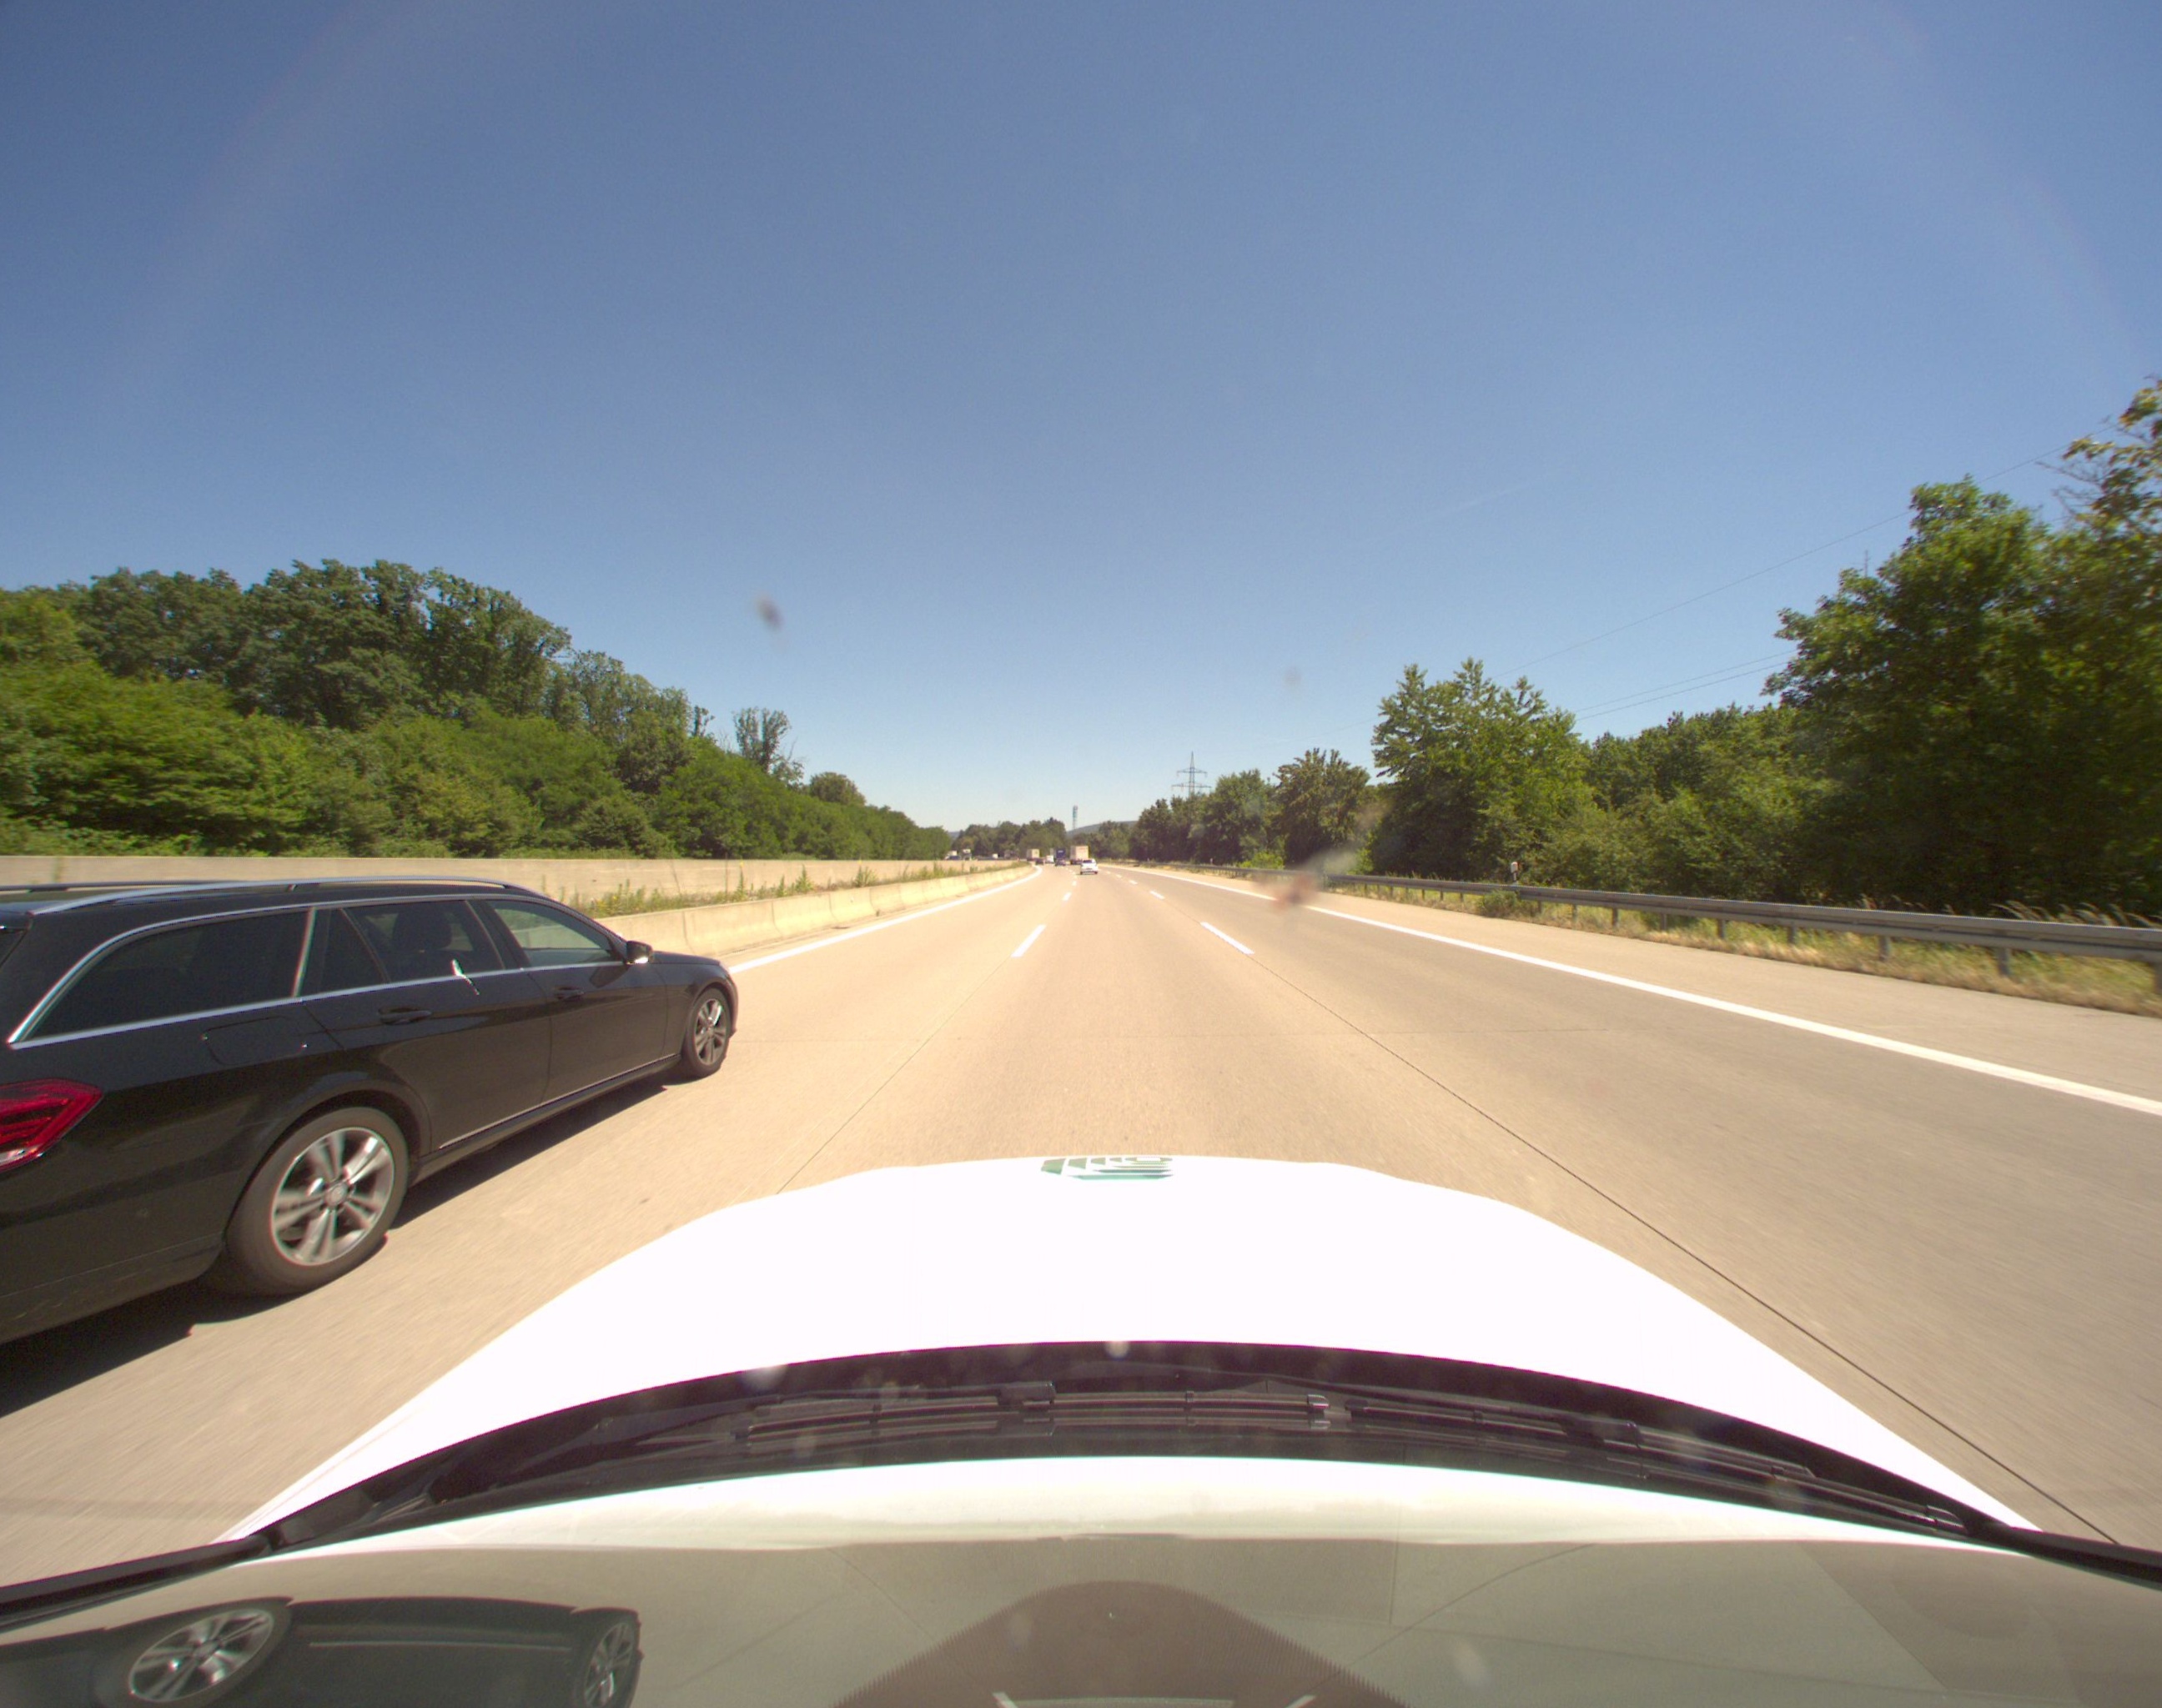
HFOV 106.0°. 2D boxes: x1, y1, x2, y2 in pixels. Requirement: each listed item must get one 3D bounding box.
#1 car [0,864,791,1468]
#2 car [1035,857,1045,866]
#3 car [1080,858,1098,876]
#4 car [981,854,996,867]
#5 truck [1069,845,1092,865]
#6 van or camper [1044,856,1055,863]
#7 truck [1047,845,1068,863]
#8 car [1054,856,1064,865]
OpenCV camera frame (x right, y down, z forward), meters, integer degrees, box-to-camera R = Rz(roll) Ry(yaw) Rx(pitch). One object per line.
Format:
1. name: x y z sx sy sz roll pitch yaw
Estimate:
1. car: -3.621 0.846 4.413 1.883 1.473 5.606 -1 0 2
2. car: -9.198 1.655 183.714 2.019 1.700 3.992 4 0 -6
3. car: 0.752 1.236 80.480 1.636 1.662 3.360 3 0 0
4. car: -13.256 0.929 117.246 1.653 1.922 4.006 0 0 0
5. truck: -0.115 0.241 175.001 3.813 3.889 14.130 -2 0 -4
6. van or camper: -8.113 1.417 208.998 1.873 1.838 3.975 -1 0 -19
7. truck: -6.658 0.177 226.241 3.906 4.741 14.006 -1 0 -9
8. car: -4.255 1.329 158.547 1.607 1.725 3.567 -1 0 -5
